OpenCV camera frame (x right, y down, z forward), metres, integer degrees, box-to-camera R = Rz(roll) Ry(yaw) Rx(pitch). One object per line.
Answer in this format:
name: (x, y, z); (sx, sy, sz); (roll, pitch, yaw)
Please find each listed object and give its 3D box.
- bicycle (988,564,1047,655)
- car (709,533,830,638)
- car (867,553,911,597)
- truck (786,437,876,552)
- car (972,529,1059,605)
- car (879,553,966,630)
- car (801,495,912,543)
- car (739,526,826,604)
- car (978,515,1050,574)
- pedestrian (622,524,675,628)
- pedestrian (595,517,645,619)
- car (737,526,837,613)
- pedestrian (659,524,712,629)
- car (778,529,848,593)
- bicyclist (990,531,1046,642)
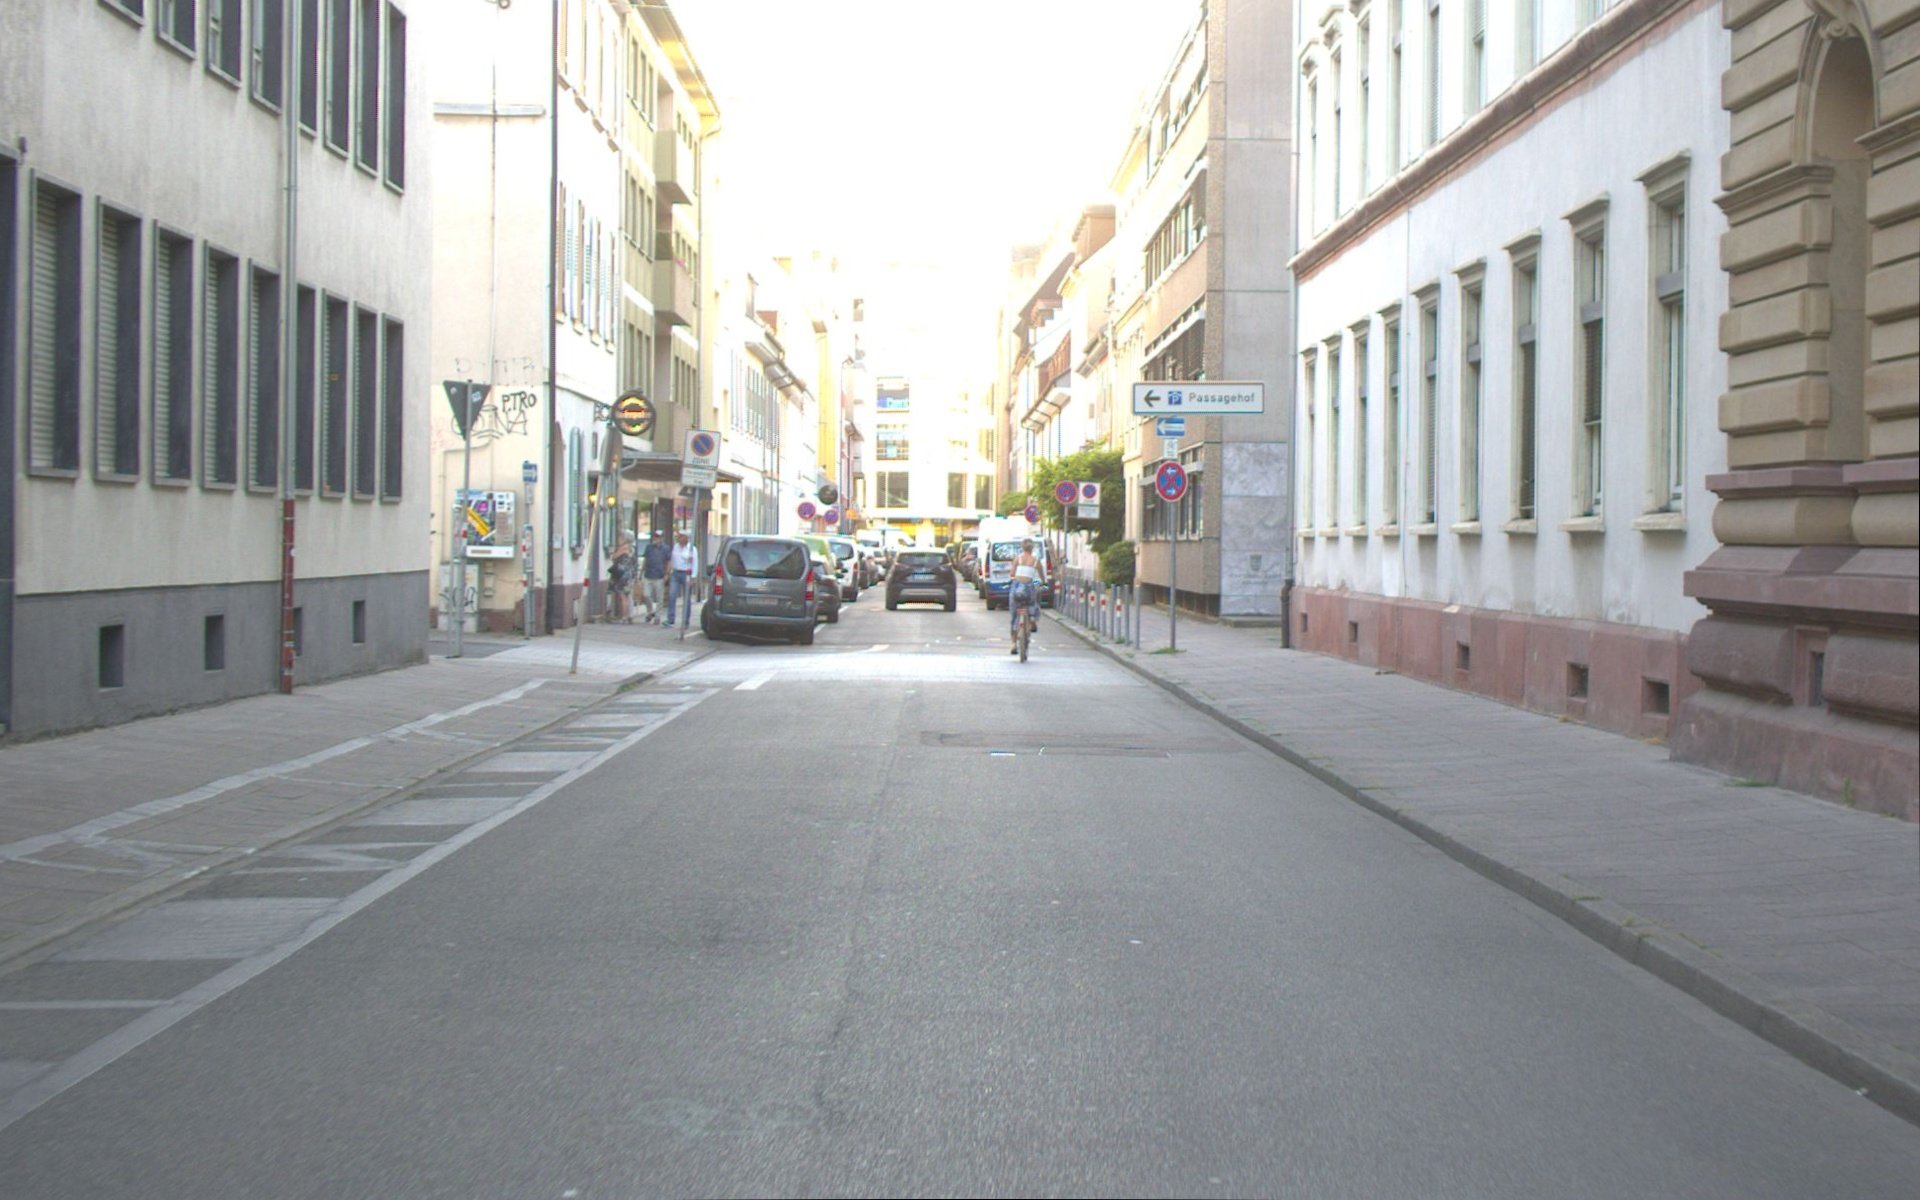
bicycle: (0.818, 0.120, 49.654); (0.794, 1.273, 2.578); (0, 1, 0)
car: (-3.222, -0.274, 58.853); (1.993, 1.722, 4.001); (0, 1, -2)
car: (-3.350, -1.169, 162.438); (1.993, 2.007, 4.000); (1, 0, 0)
truck: (-4.183, -3.336, 111.444); (2.770, 3.493, 9.617); (1, 1, -2)
car: (1.455, -0.907, 92.184); (1.993, 1.985, 4.001); (0, 1, -4)
car: (-0.978, -0.237, 87.466); (1.993, 1.897, 4.001); (0, 1, -4)
car: (-3.955, -3.067, 130.861); (3.986, 1.764, 2.016); (1, 1, -8)
car: (-4.250, -0.841, 81.896); (1.993, 1.809, 4.001); (0, 1, -4)
car: (1.726, -1.792, 111.637); (1.993, 1.880, 4.173); (0, 1, -4)
pedestrian: (-5.764, -0.446, 63.590); (0.733, 1.905, 0.757); (0, 1, 18)
pedestrian: (-6.116, -0.576, 61.878); (0.755, 1.823, 0.735); (0, 1, -19)
car: (-3.741, -0.668, 73.833); (1.993, 1.809, 4.001); (0, 1, -5)
pedestrian: (-5.028, -0.440, 63.001); (0.733, 1.905, 0.757); (0, 1, 18)
car: (-4.270, -1.137, 100.030); (1.993, 1.809, 4.001); (0, 1, -3)
bicyclist: (0.832, -0.198, 49.575); (0.789, 1.577, 1.012); (0, 1, 0)
